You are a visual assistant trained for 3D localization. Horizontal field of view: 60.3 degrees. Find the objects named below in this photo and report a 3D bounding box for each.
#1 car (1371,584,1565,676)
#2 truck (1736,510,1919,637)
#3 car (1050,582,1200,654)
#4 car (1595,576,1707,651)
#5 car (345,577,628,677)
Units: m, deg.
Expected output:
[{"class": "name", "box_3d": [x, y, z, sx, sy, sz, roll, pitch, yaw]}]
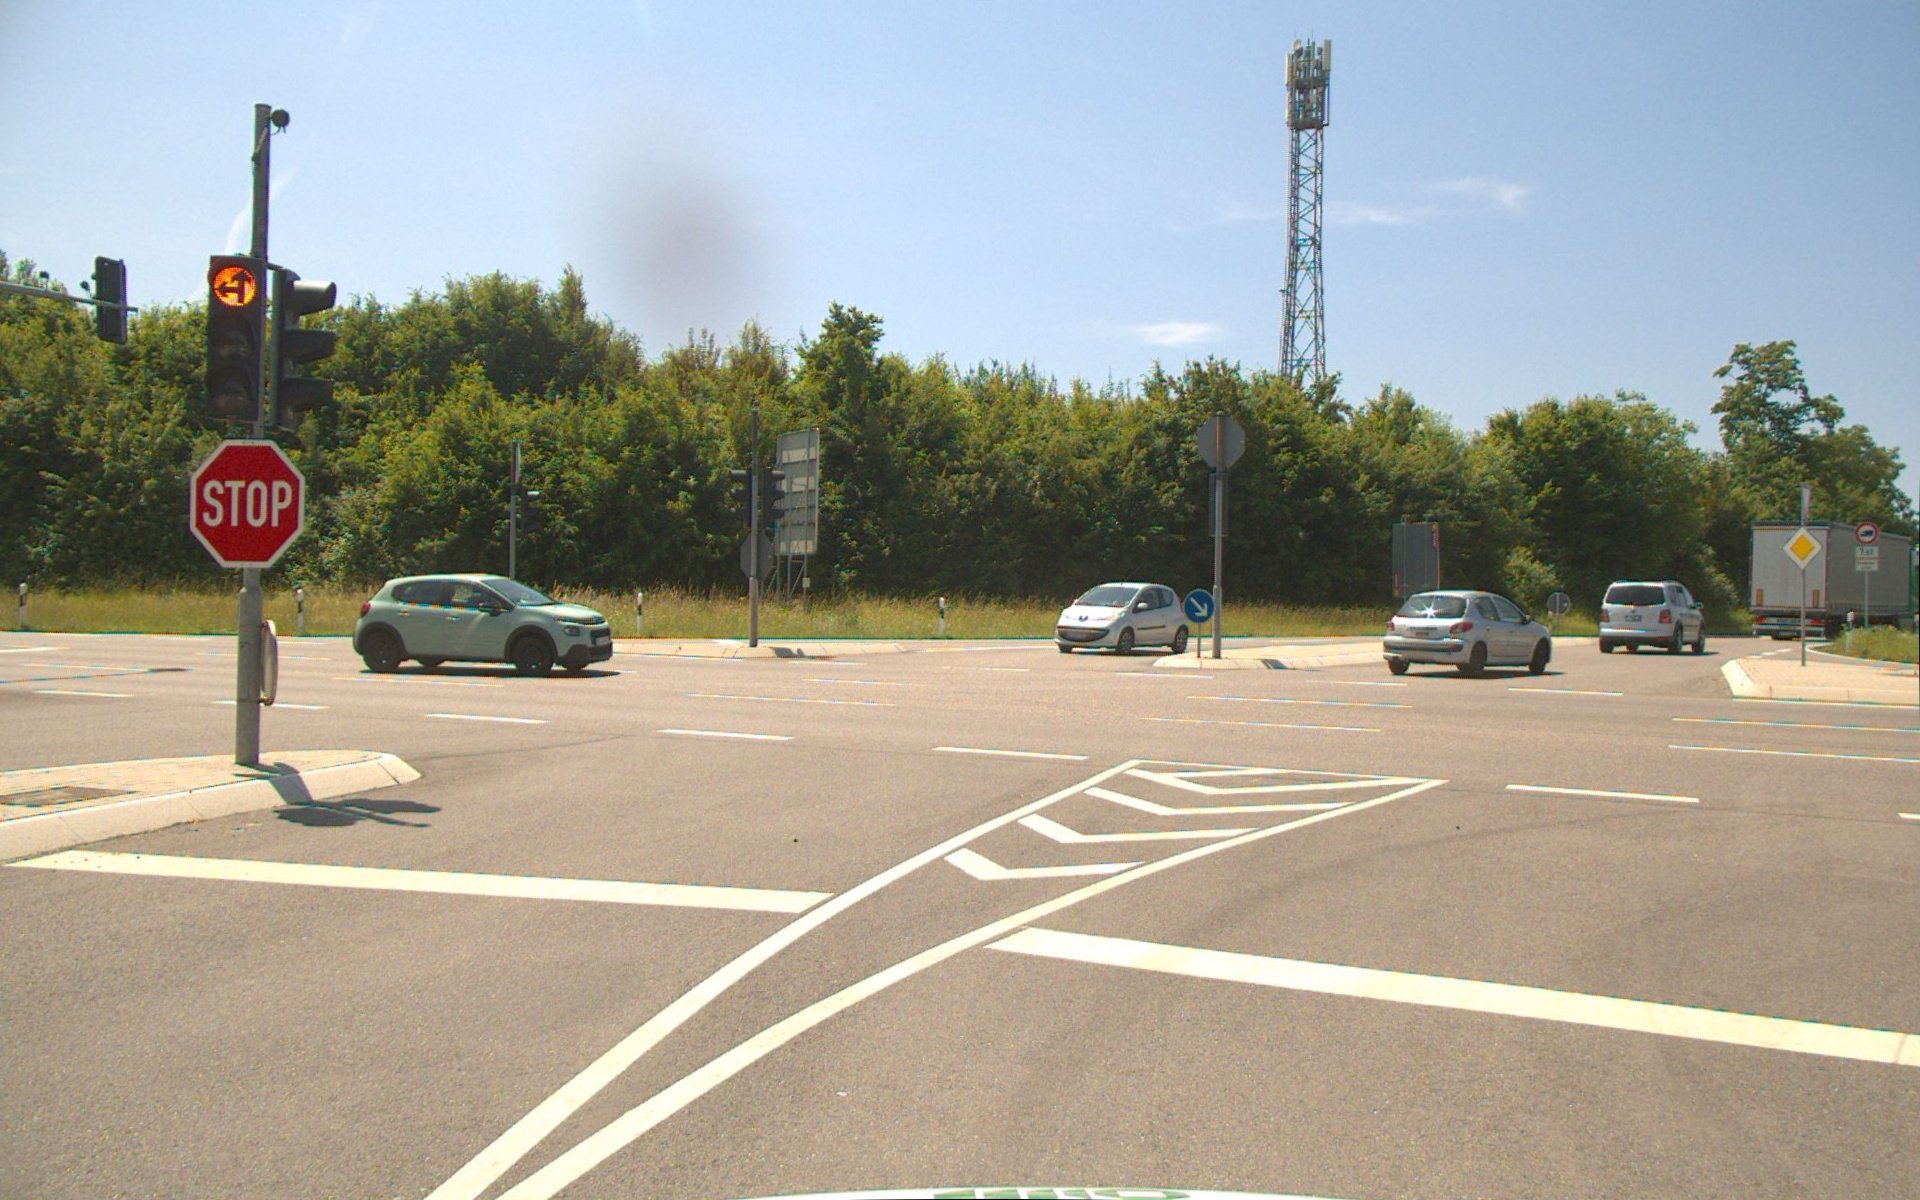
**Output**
[{"class": "car", "box_3d": [8.929, 0.471, 28.933, 1.787, 1.437, 3.759, 2, 2, 43]}, {"class": "truck", "box_3d": [33.337, -0.862, 62.802, 3.077, 4.245, 16.602, 1, 0, 39]}, {"class": "car", "box_3d": [3.516, 0.341, 34.750, 1.539, 1.394, 3.516, 1, 1, 37]}, {"class": "car", "box_3d": [16.453, 0.269, 39.298, 1.780, 1.653, 4.049, 0, 1, 33]}, {"class": "car", "box_3d": [-7.342, 0.381, 25.792, 3.889, 1.428, 1.736, 1, 2, 12]}]
